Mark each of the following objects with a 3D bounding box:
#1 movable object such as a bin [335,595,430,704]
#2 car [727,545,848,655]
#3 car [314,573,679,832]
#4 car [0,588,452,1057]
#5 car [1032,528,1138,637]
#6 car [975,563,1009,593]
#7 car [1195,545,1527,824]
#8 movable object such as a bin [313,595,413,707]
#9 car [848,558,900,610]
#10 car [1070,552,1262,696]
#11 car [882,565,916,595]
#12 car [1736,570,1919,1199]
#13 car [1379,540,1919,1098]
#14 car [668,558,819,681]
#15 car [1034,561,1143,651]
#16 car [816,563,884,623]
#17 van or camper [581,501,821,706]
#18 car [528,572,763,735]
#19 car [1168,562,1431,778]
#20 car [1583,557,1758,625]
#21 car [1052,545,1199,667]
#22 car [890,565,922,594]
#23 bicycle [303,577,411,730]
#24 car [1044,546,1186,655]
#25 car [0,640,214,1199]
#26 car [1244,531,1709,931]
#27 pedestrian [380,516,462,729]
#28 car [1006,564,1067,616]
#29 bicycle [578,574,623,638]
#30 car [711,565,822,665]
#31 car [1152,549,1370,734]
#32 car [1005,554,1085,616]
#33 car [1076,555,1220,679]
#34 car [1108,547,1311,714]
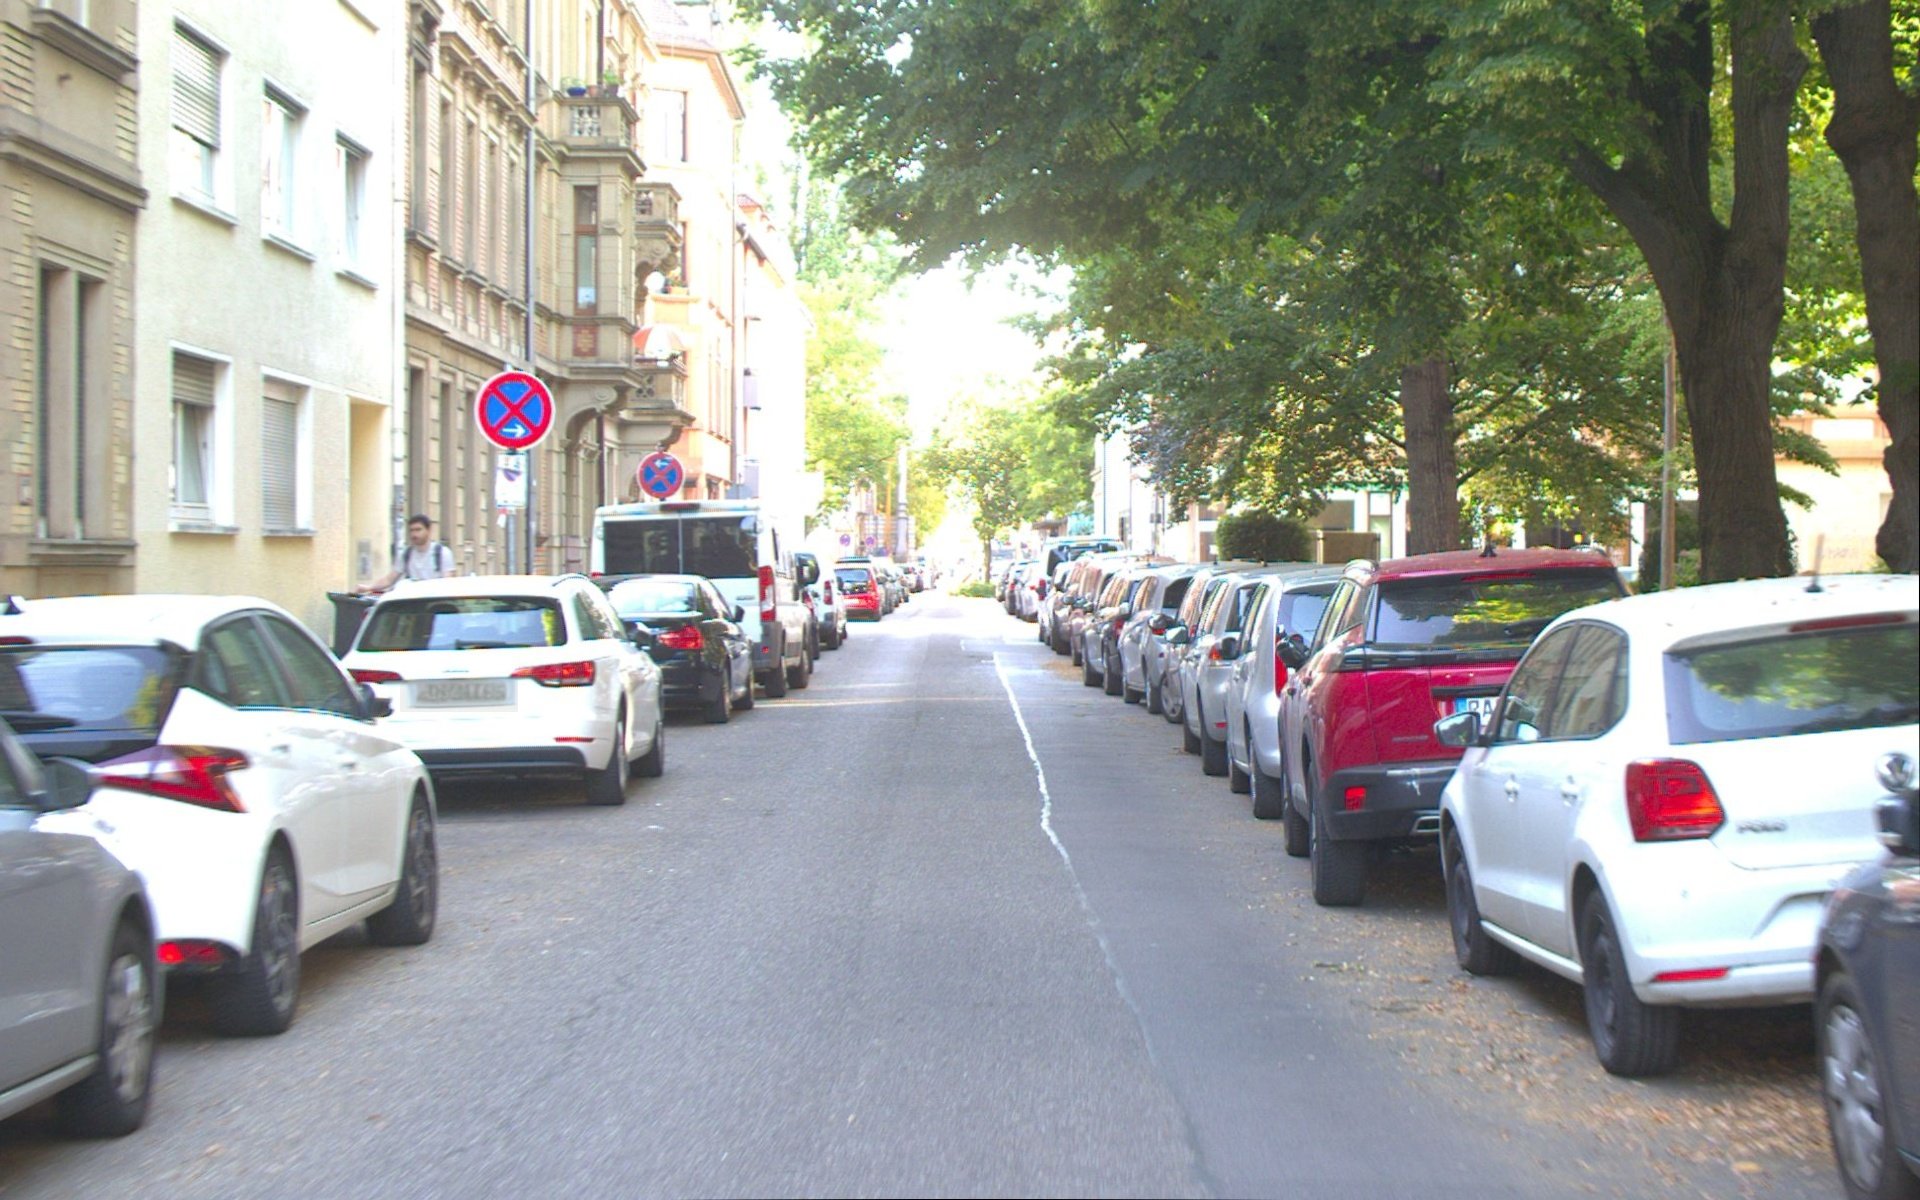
[{"bbox_3d":[-5.816,0.493,34.639,0.800,1.084,0.666,0,-1,4],"label":"movable object such as a bin"},{"bbox_3d":[-2.989,-0.030,60.364,1.831,1.805,4.572,-2,1,0],"label":"car"},{"bbox_3d":[-2.918,0.586,22.540,1.731,1.451,4.521,-2,1,0],"label":"car"},{"bbox_3d":[-3.032,0.695,12.443,1.709,1.412,3.803,-2,0,1],"label":"car"},{"bbox_3d":[2.441,-0.360,67.080,1.914,1.991,4.791,-2,1,2],"label":"car"},{"bbox_3d":[1.682,-1.163,179.834,1.676,1.482,3.638,-2,1,-1],"label":"car"},{"bbox_3d":[2.464,0.489,21.876,1.599,1.500,3.720,-5,0,1],"label":"car"},{"bbox_3d":[-5.866,0.498,33.797,0.836,1.084,0.675,0,-1,3],"label":"movable object such as a bin"},{"bbox_3d":[-3.077,-0.585,124.072,1.765,1.779,4.039,-2,1,-1],"label":"car"},{"bbox_3d":[2.329,0.267,39.942,1.675,1.436,4.696,-5,0,-2],"label":"car"},{"bbox_3d":[-3.163,-1.046,178.158,1.676,1.482,4.095,-2,1,-1],"label":"car"},{"bbox_3d":[2.846,0.653,6.781,1.664,1.515,4.060,-5,0,1],"label":"car"},{"bbox_3d":[2.633,0.609,11.869,1.664,1.515,3.952,-5,0,-2],"label":"car"},{"bbox_3d":[-2.853,0.229,46.019,1.766,1.509,4.193,-2,1,-1],"label":"car"},{"bbox_3d":[2.281,0.088,61.822,1.719,1.565,3.828,0,1,-2],"label":"car"},{"bbox_3d":[-2.853,-0.200,89.791,1.628,1.476,3.601,-2,1,0],"label":"car"},{"bbox_3d":[-2.902,0.000,39.712,2.177,2.140,5.154,-2,1,2],"label":"van or camper"},{"bbox_3d":[-2.976,0.468,33.348,1.731,1.397,4.315,-2,1,2],"label":"car"},{"bbox_3d":[2.510,0.492,26.181,1.599,1.465,3.869,-2,0,1],"label":"car"},{"bbox_3d":[16.485,-0.205,79.930,3.856,1.468,1.633,1,-2,7],"label":"car"},{"bbox_3d":[2.419,0.092,51.043,1.618,1.619,3.864,-5,0,-4],"label":"car"},{"bbox_3d":[-2.872,-1.086,183.638,1.676,1.482,4.095,-2,1,-1],"label":"car"},{"bbox_3d":[-5.198,0.439,29.701,0.570,1.239,1.845,3,1,-1],"label":"bicycle"},{"bbox_3d":[2.519,0.009,56.766,1.739,1.597,4.265,-5,0,-4],"label":"car"},{"bbox_3d":[-3.058,0.858,8.005,1.709,1.412,3.803,-2,0,1],"label":"car"},{"bbox_3d":[2.373,0.555,16.742,1.664,1.580,4.100,-5,0,2],"label":"car"},{"bbox_3d":[-4.674,0.185,29.840,0.488,1.797,1.115,2,1,-1],"label":"pedestrian"},{"bbox_3d":[2.313,-0.322,104.528,1.676,1.501,3.937,-2,1,-1],"label":"car"},{"bbox_3d":[-6.011,0.095,57.528,0.571,1.038,1.546,2,0,0],"label":"bicycle"},{"bbox_3d":[-3.118,0.210,55.755,1.692,1.509,3.973,-2,1,-3],"label":"car"},{"bbox_3d":[2.693,0.354,31.376,1.599,1.463,3.563,-5,0,1],"label":"car"},{"bbox_3d":[2.187,-0.406,89.533,1.743,1.501,4.358,-2,1,-3],"label":"car"},{"bbox_3d":[2.487,0.218,46.246,1.619,1.481,3.776,-5,0,0],"label":"car"},{"bbox_3d":[2.518,0.301,35.463,1.599,1.500,3.628,-5,0,-2],"label":"car"}]
